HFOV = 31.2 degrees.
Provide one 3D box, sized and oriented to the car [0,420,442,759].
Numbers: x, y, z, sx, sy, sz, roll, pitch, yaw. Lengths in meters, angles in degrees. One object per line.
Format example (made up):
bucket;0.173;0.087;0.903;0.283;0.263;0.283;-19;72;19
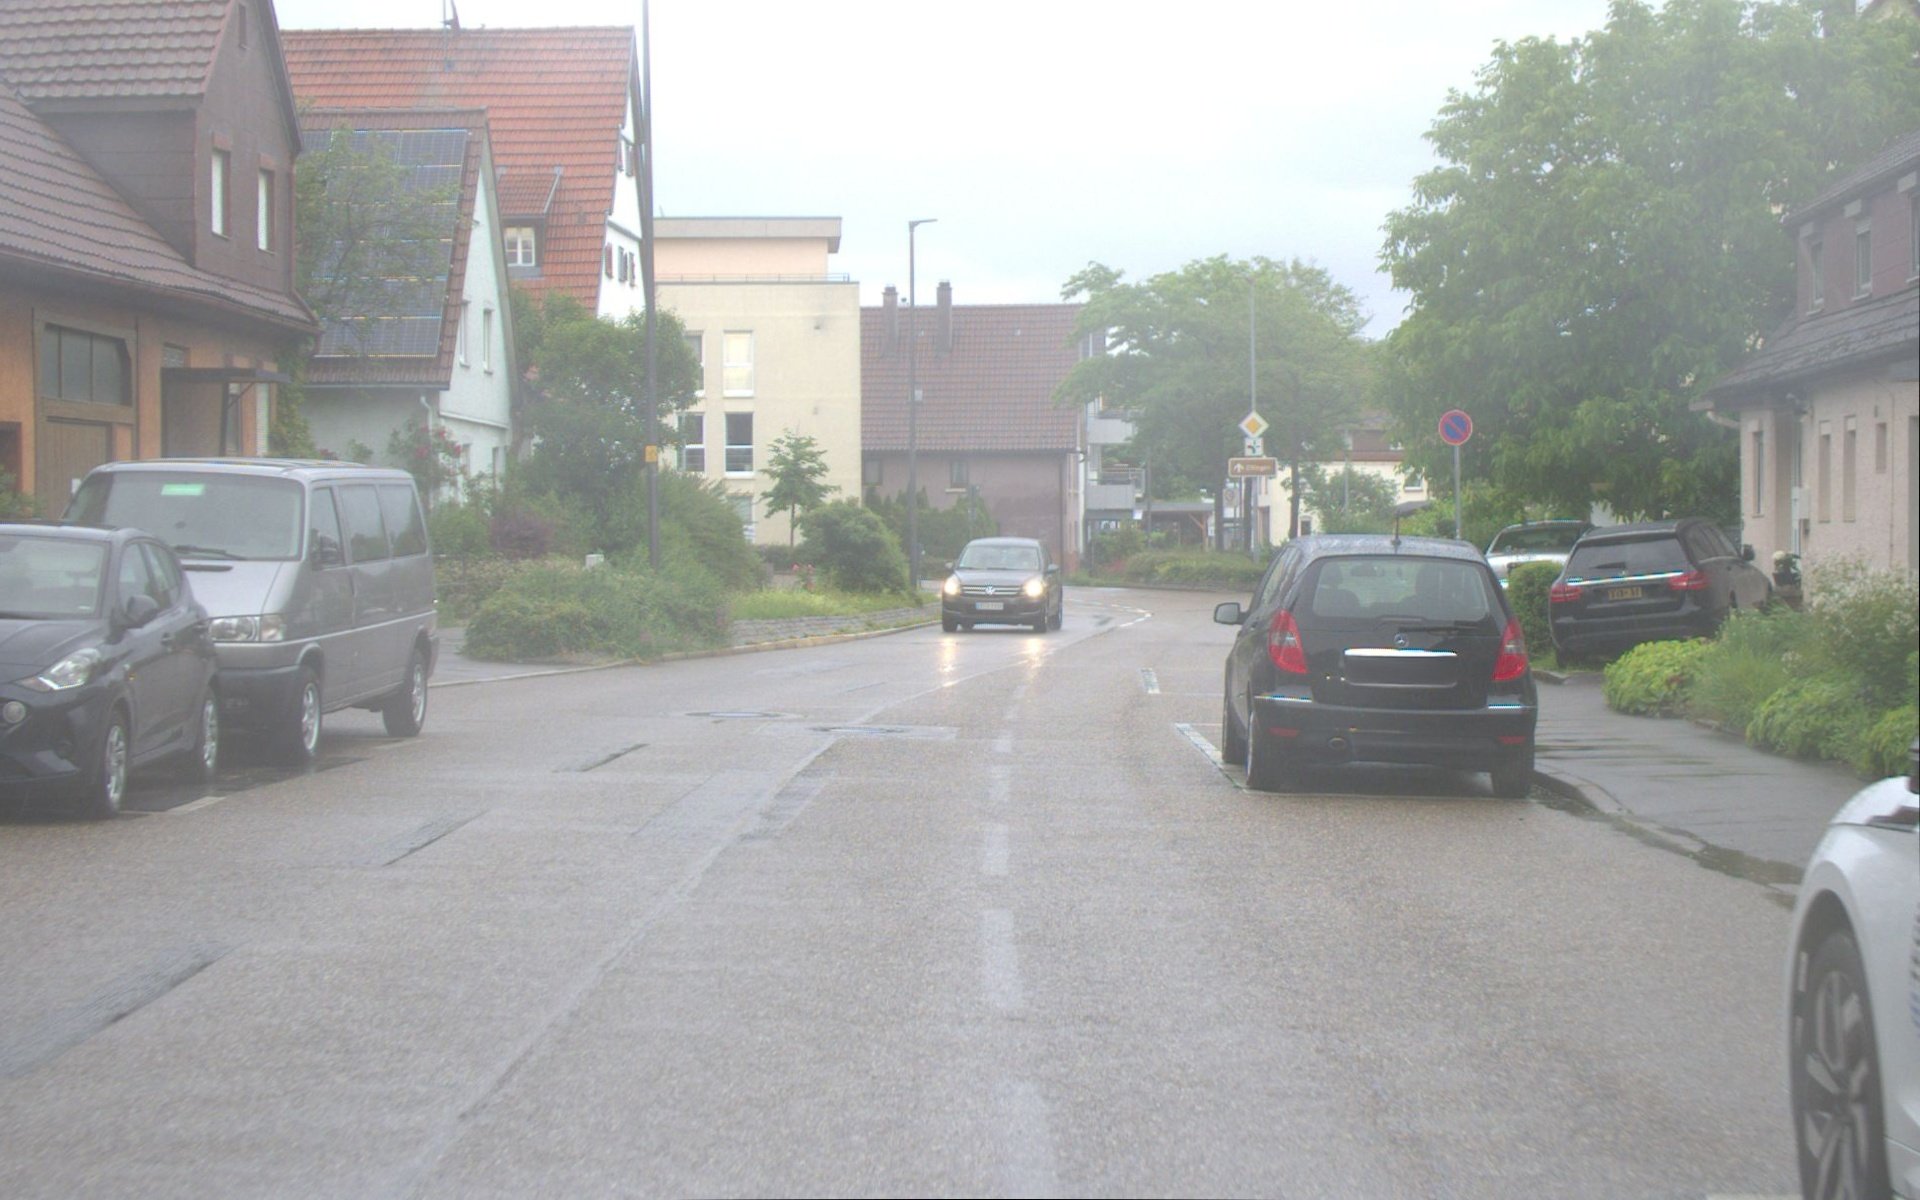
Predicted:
car;-4.873;-0.099;22.999;1.821;2.007;5.214;0;1;2

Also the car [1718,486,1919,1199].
car;2.663;0.612;5.593;1.802;1.589;4.612;1;1;0

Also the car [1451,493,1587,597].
car;7.931;-0.780;48.968;1.638;1.425;3.676;0;1;5

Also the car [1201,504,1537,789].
car;2.596;0.248;22.635;1.749;1.704;4.000;0;1;0

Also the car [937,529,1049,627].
car;0.608;-0.404;60.098;1.798;1.634;4.000;1;1;2

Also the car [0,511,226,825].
car;-5.007;0.300;18.142;1.578;1.492;3.567;0;1;-1

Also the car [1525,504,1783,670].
car;7.178;-0.170;35.275;1.761;1.389;3.996;-6;0;22
